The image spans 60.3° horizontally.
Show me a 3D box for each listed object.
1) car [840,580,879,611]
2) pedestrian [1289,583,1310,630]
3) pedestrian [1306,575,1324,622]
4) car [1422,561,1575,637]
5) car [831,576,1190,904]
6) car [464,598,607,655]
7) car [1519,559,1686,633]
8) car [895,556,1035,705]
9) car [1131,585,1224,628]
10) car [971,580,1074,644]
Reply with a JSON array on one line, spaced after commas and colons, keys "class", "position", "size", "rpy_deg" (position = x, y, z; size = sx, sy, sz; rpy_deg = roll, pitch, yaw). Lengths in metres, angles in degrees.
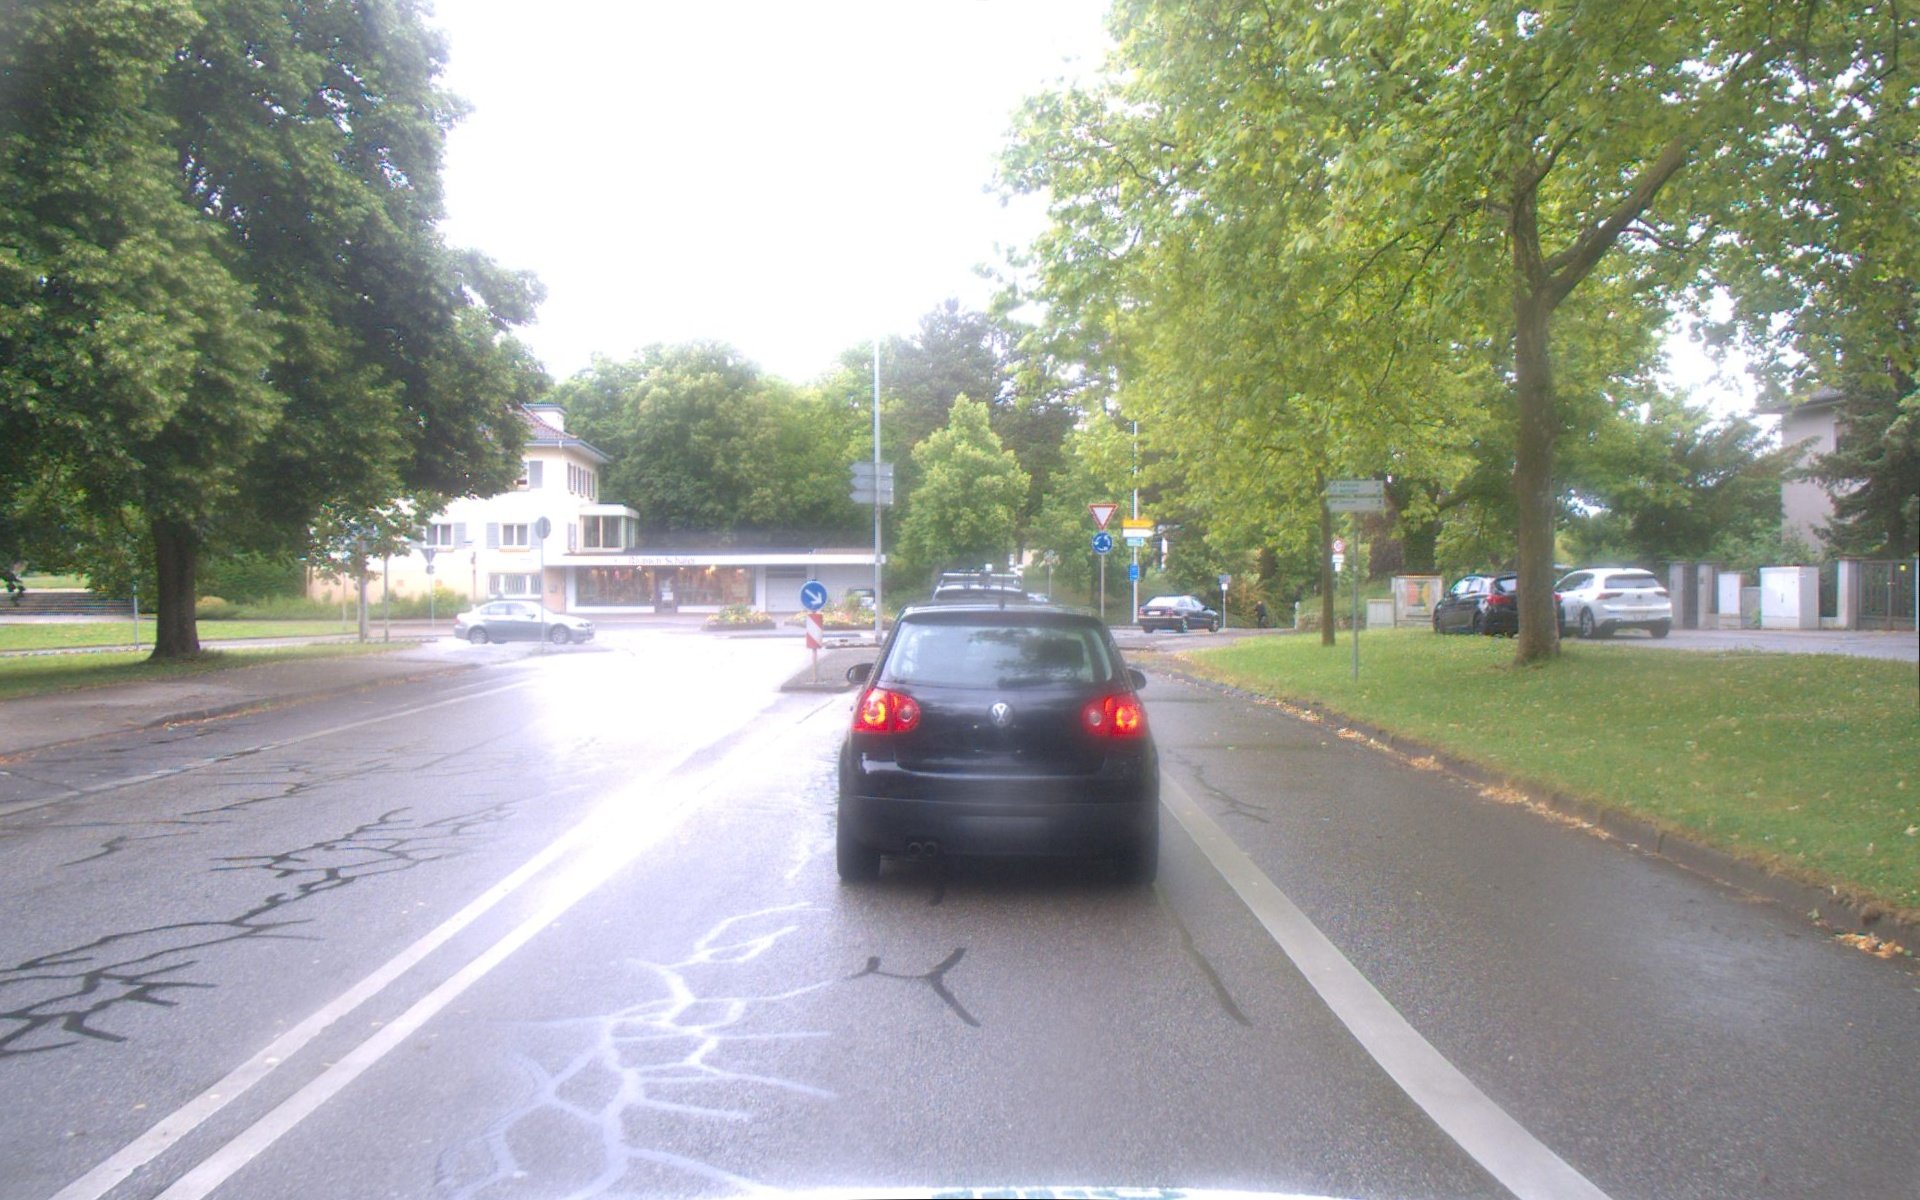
[{"class": "car", "position": [-5.165, -0.261, 84.612], "size": [1.778, 1.512, 3.825], "rpy_deg": [-1, 1, -7]}, {"class": "pedestrian", "position": [12.782, 0.236, 62.306], "size": [0.519, 1.743, 0.633], "rpy_deg": [1, -1, -15]}, {"class": "pedestrian", "position": [13.534, -0.060, 63.033], "size": [0.620, 1.743, 0.530], "rpy_deg": [1, -1, 16]}, {"class": "car", "position": [11.751, -0.018, 36.414], "size": [1.729, 1.497, 4.596], "rpy_deg": [-2, 0, -2]}, {"class": "car", "position": [0.204, 0.692, 10.070], "size": [1.729, 1.565, 3.999], "rpy_deg": [1, 0, -1]}, {"class": "car", "position": [-13.529, 0.841, 52.838], "size": [3.934, 1.713, 2.001], "rpy_deg": [1, 0, 6]}, {"class": "car", "position": [14.154, -0.070, 36.718], "size": [1.808, 1.497, 4.424], "rpy_deg": [-2, 0, -2]}, {"class": "car", "position": [0.014, 0.387, 22.898], "size": [1.729, 1.833, 4.245], "rpy_deg": [-1, 0, -1]}, {"class": "car", "position": [8.330, 0.261, 63.054], "size": [1.959, 1.557, 3.987], "rpy_deg": [1, 0, 34]}, {"class": "car", "position": [1.904, 0.347, 48.843], "size": [1.952, 1.772, 4.145], "rpy_deg": [1, 0, 18]}]
